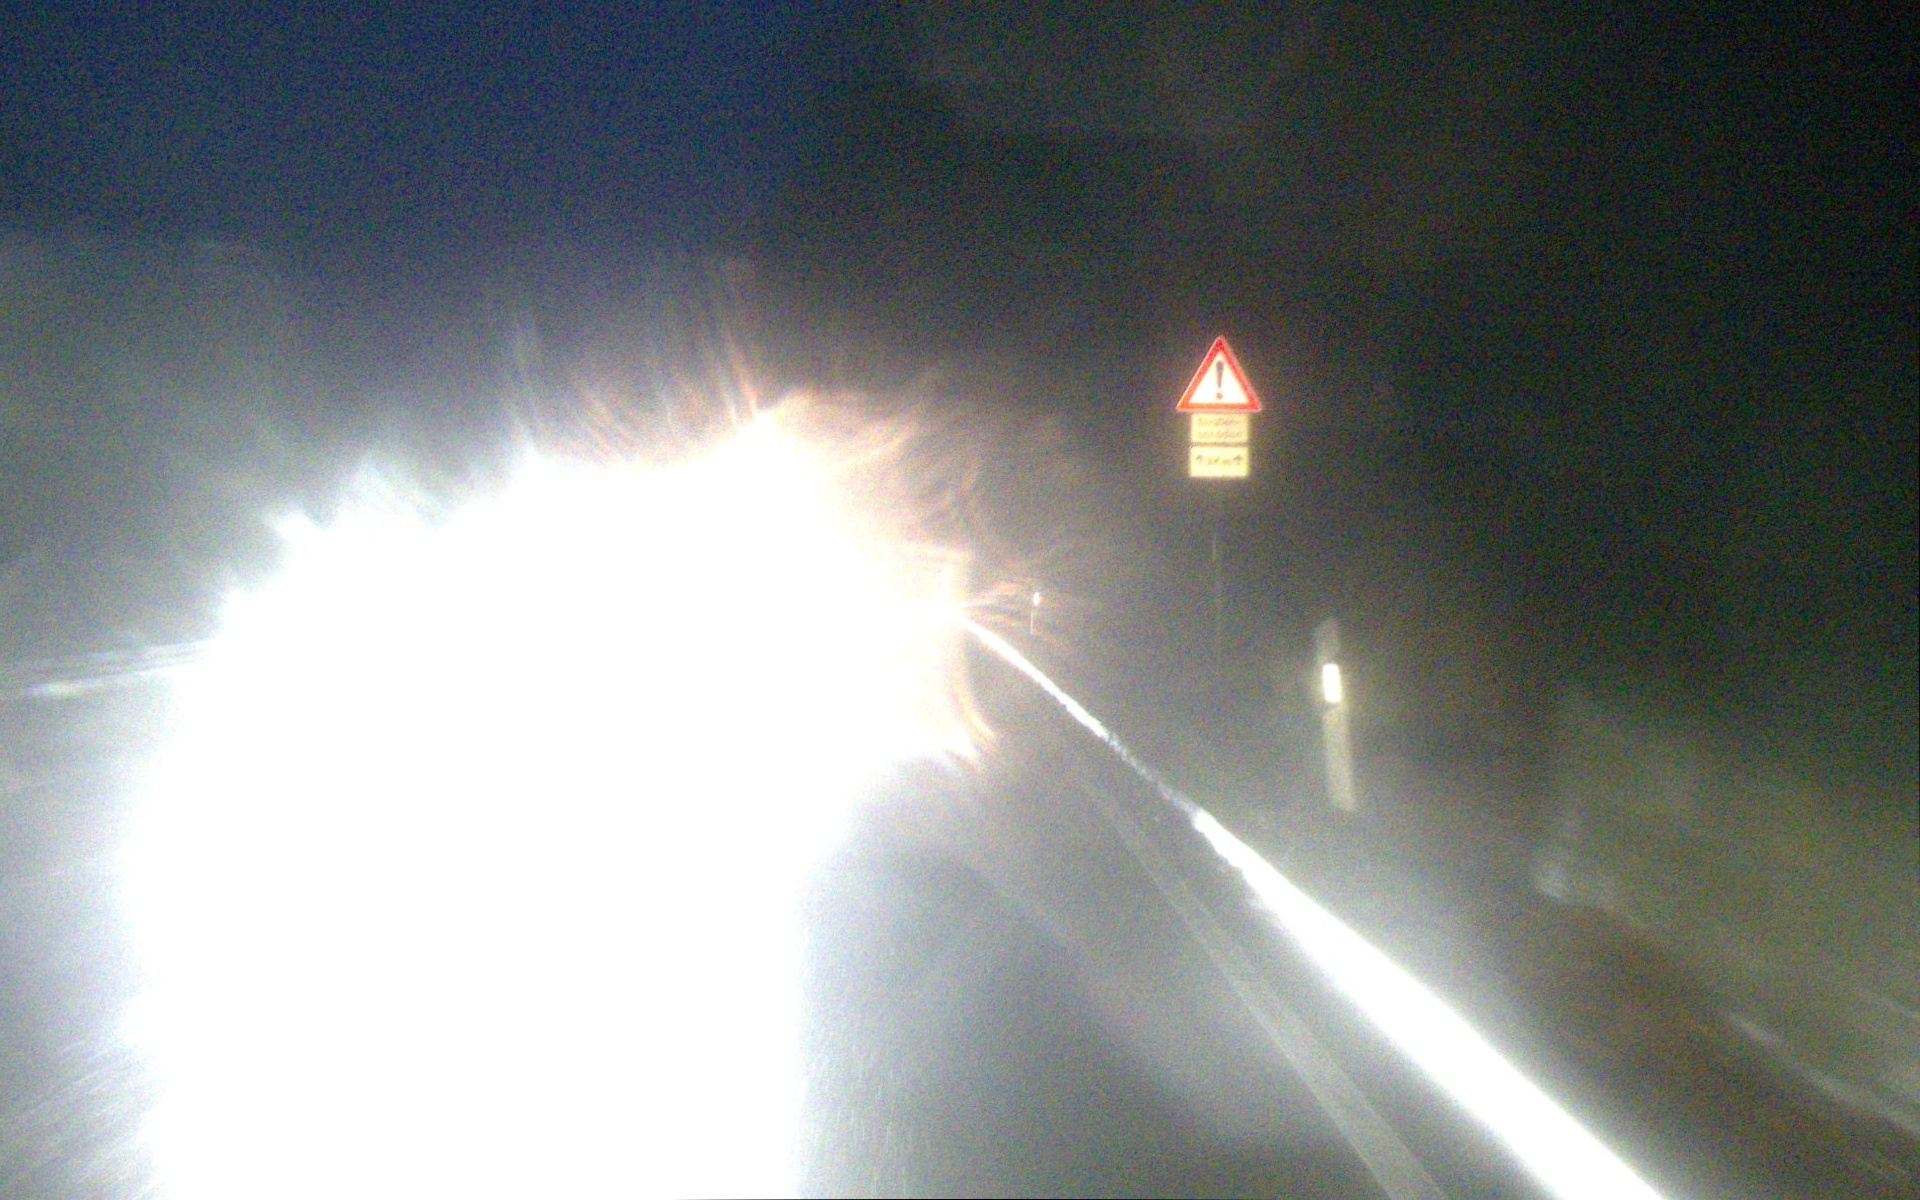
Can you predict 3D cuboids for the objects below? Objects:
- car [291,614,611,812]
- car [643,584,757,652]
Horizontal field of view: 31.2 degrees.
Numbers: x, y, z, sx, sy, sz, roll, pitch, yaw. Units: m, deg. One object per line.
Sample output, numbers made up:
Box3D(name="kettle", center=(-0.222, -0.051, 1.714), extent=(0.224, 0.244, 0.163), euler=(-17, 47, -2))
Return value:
Box3D(name="car", center=(-4.122, 0.895, 28.534), extent=(1.993, 1.492, 4.356), euler=(1, -1, 0))
Box3D(name="car", center=(-5.780, 0.430, 76.888), extent=(1.976, 1.457, 4.281), euler=(1, -1, 3))
